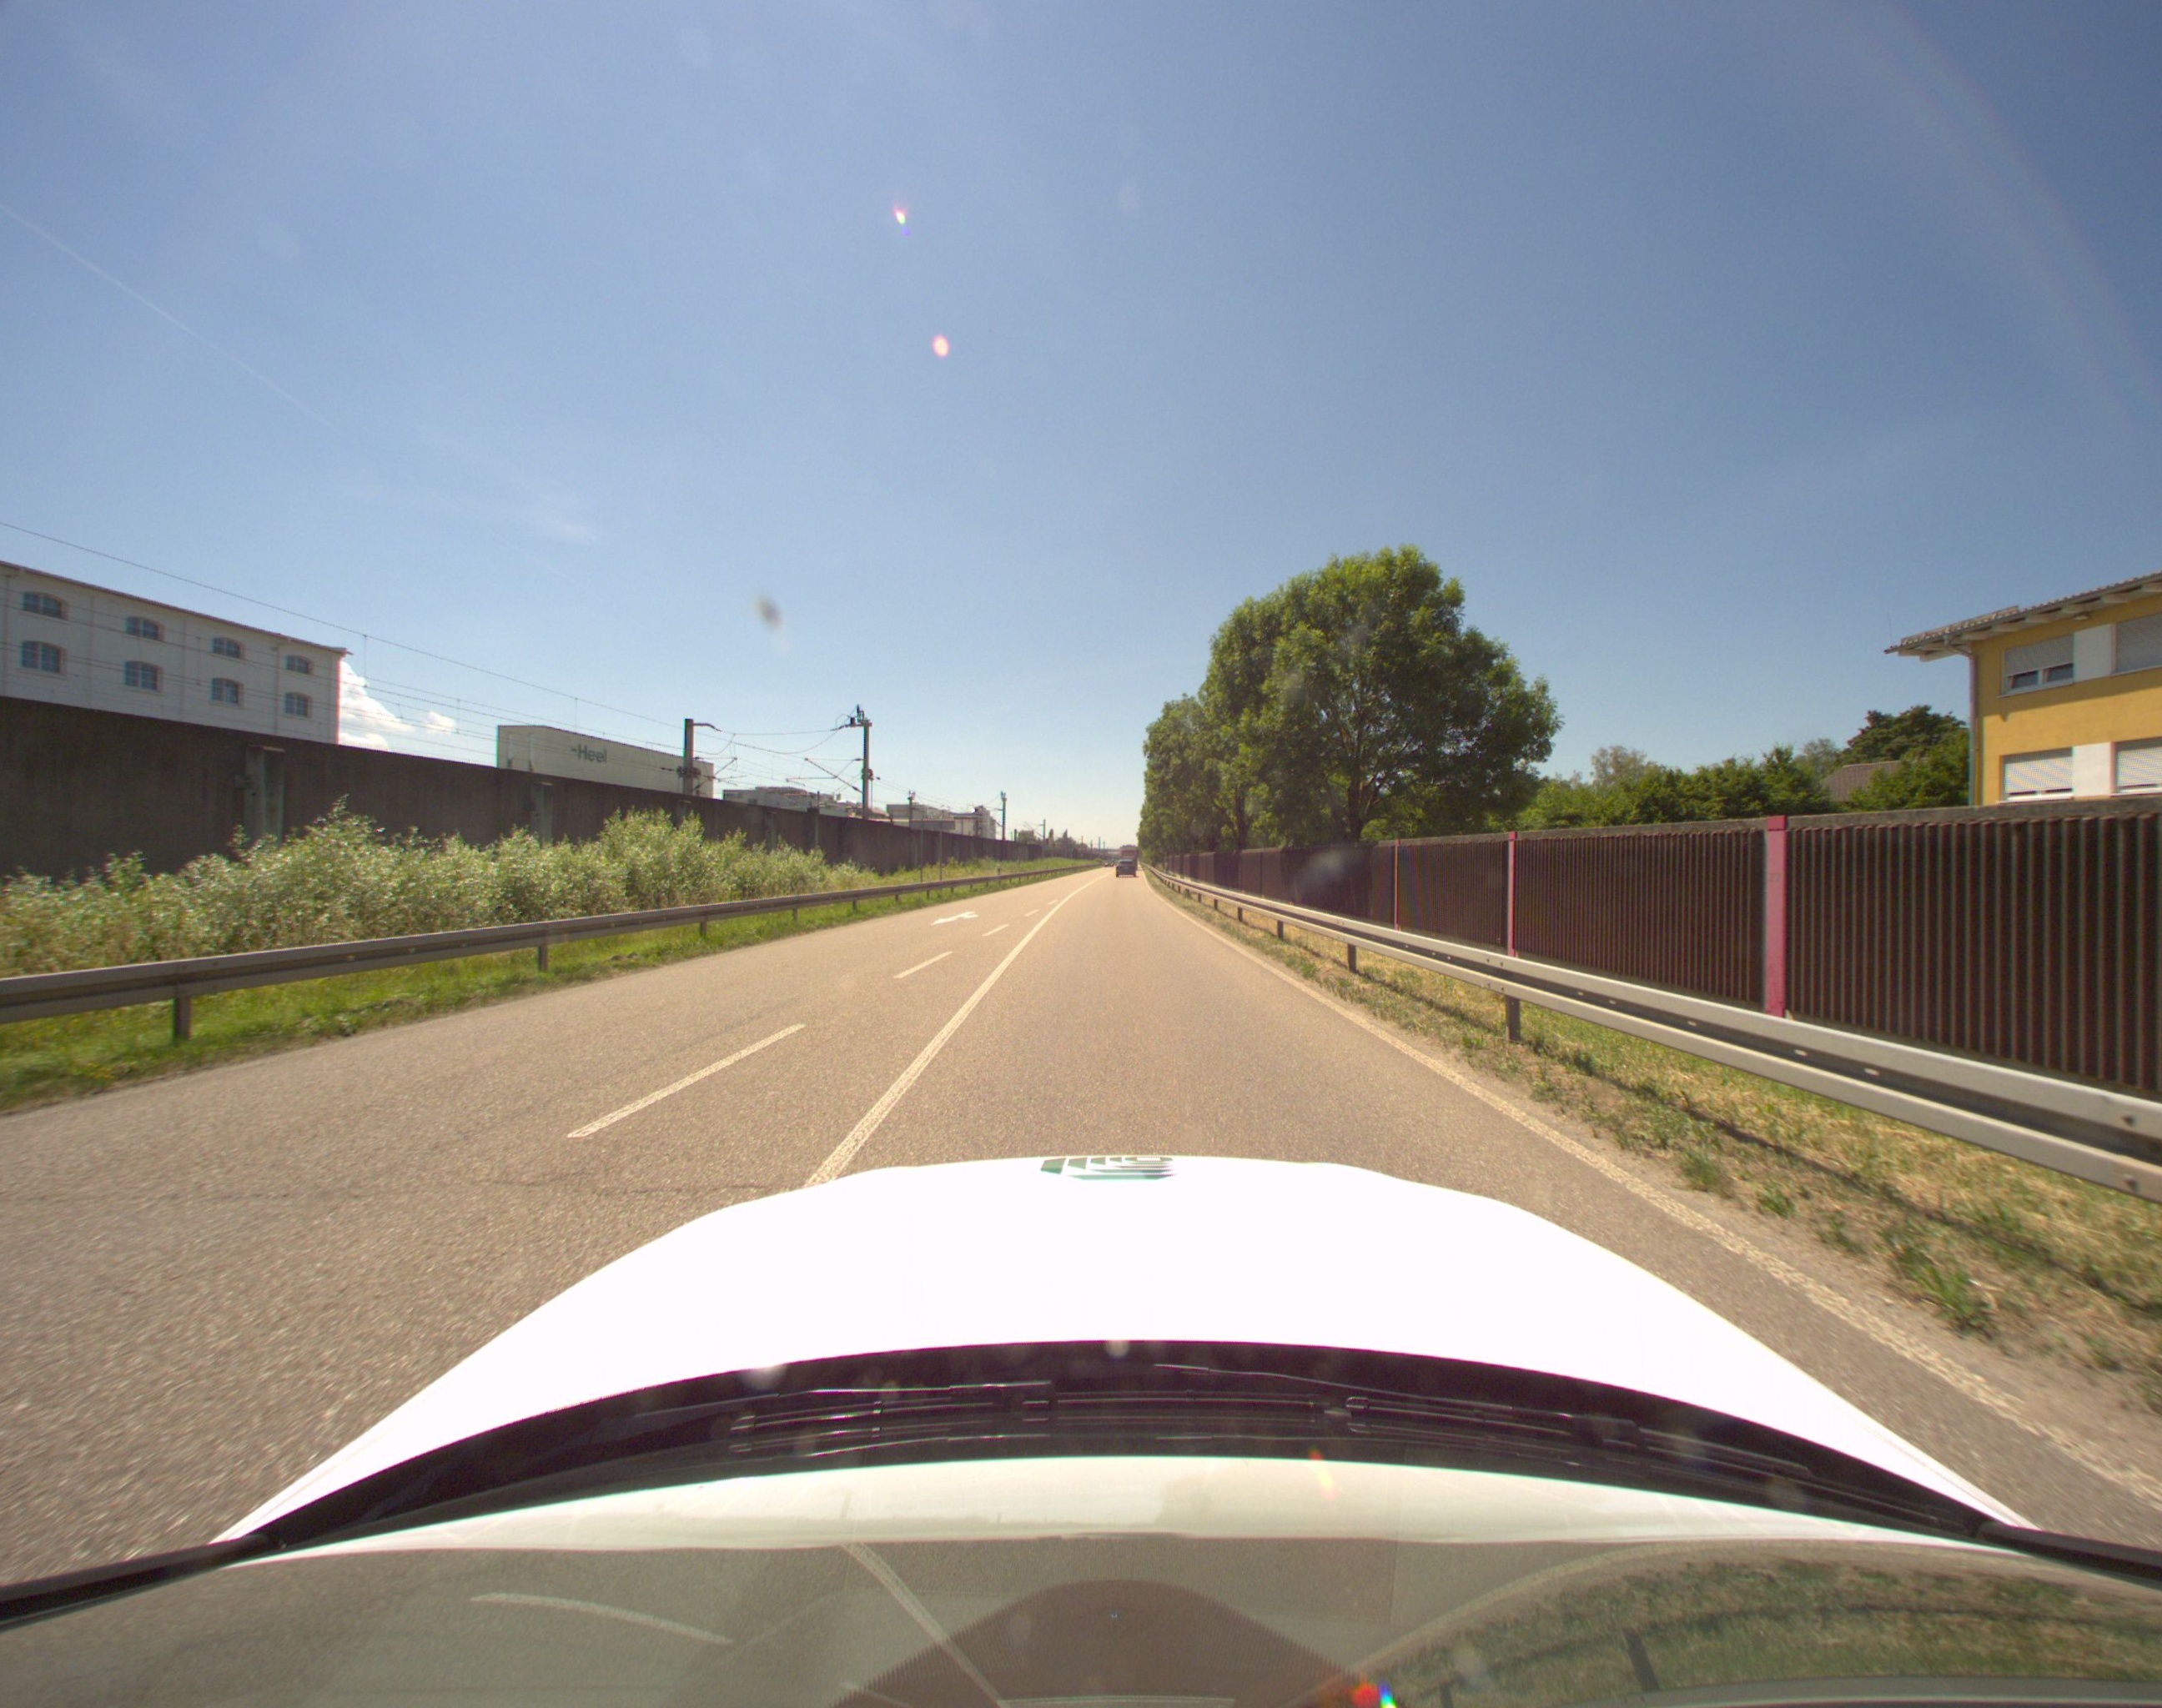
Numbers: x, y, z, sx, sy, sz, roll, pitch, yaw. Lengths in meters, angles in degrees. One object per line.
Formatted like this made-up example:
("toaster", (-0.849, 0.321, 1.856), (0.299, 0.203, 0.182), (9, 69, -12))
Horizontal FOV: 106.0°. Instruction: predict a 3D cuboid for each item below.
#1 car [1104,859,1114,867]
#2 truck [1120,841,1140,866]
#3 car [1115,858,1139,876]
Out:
("car", (5.751, 1.816, 167.977), (1.985, 1.508, 4.003), (-1, 0, 3))
("truck", (7.149, -0.023, 118.119), (2.758, 3.425, 10.830), (0, -1, 4))
("car", (4.078, 1.131, 73.082), (1.986, 1.508, 4.001), (-1, 0, 2))
